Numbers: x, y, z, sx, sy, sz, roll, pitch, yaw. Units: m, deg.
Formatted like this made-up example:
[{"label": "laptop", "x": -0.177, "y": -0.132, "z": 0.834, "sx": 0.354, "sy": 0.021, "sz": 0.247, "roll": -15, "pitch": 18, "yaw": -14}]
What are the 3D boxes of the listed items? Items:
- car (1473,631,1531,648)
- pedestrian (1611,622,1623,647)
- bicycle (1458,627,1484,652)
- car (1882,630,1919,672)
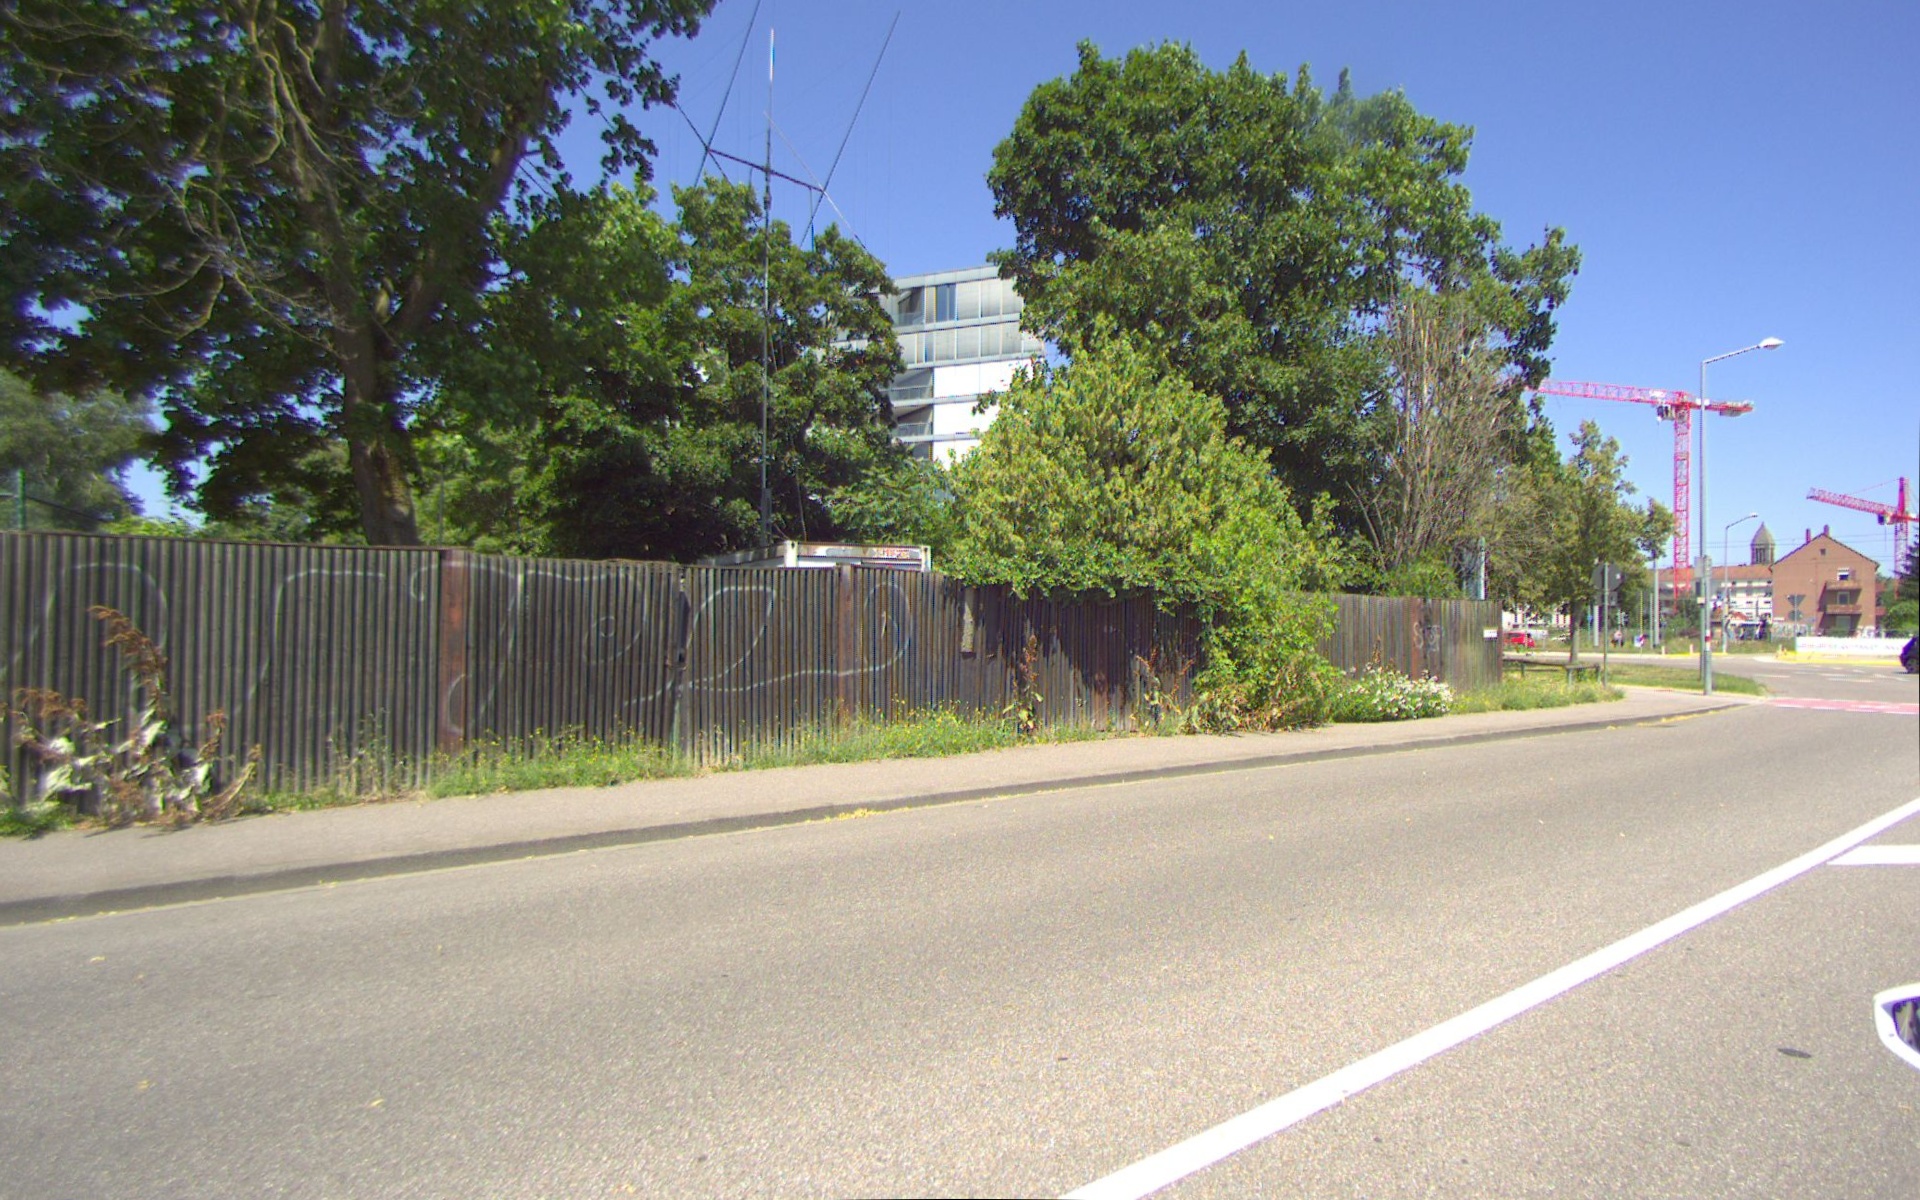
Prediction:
[{"label": "car", "x": 46.401, "y": 3.352, "z": 86.092, "sx": 1.741, "sy": 1.421, "sz": 4.028, "roll": 1, "pitch": -1, "yaw": -43}, {"label": "pedestrian", "x": 54.152, "y": 2.865, "z": 82.819, "sx": 0.588, "sy": 2.040, "sz": 0.598, "roll": 2, "pitch": 0, "yaw": -30}, {"label": "bicycle", "x": 37.236, "y": 2.878, "z": 73.146, "sx": 2.060, "sy": 1.707, "sz": 0.556, "roll": 2, "pitch": 0, "yaw": -28}, {"label": "car", "x": 34.247, "y": 1.762, "z": 34.191, "sx": 1.721, "sy": 1.421, "sz": 4.076, "roll": 0, "pitch": -1, "yaw": -7}]
